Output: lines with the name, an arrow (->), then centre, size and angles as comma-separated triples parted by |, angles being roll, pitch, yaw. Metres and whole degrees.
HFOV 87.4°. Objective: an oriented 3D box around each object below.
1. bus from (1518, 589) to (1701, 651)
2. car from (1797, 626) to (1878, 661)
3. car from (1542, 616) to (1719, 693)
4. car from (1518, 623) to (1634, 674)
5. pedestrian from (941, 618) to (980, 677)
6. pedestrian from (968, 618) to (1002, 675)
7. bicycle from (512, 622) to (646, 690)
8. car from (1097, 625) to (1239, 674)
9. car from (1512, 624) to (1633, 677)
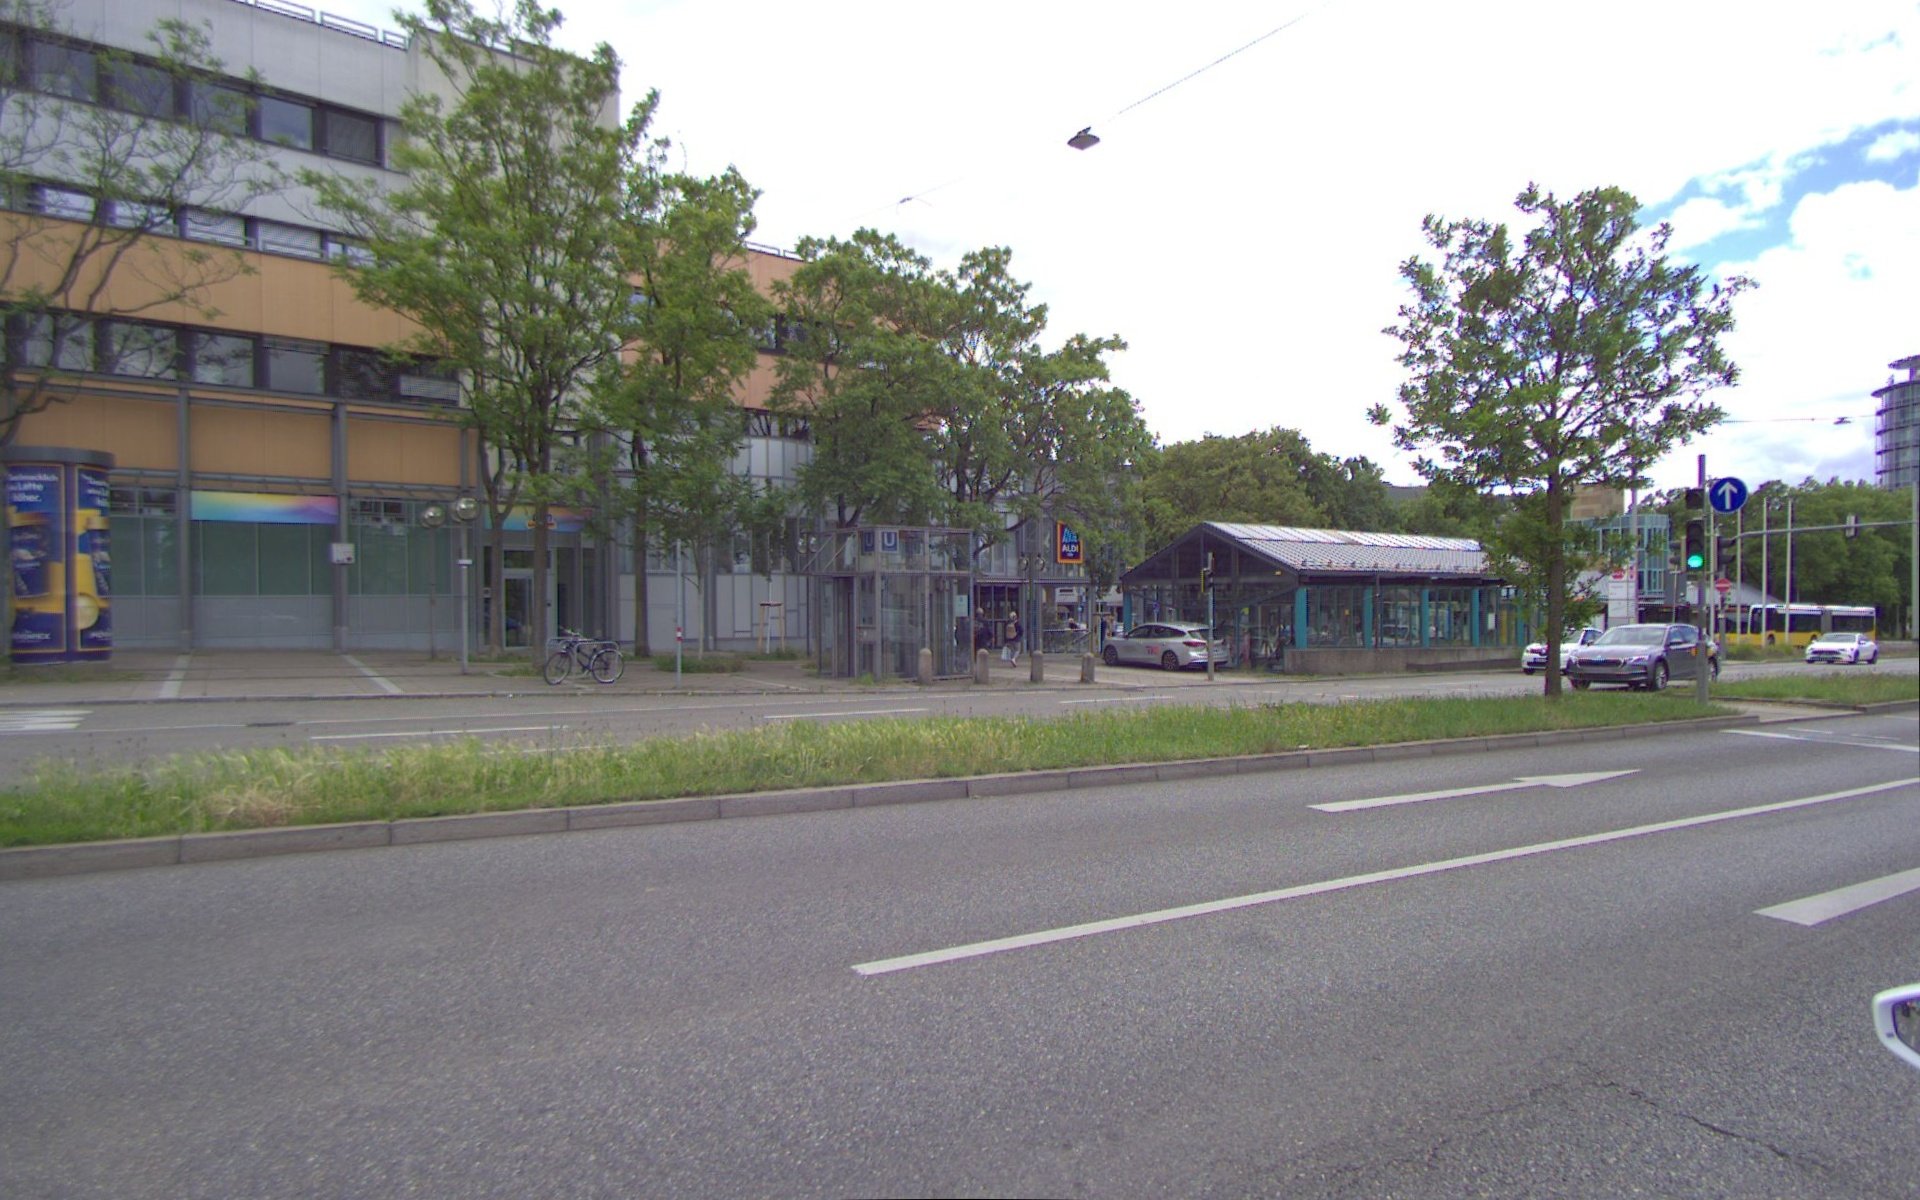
bus -> 36.833, 1.182, 56.781 | 12.001, 3.175, 2.947 | 2, 0, -26
car -> 41.547, 2.052, 47.549 | 4.458, 1.595, 1.723 | 2, -1, -33
car -> 15.386, 1.194, 22.985 | 4.473, 1.595, 1.980 | 2, -2, -36
car -> 20.344, 1.583, 33.161 | 3.953, 1.595, 1.616 | 1, -1, -30
pedestrian -> 0.027, 1.209, 25.668 | 0.593, 1.477, 0.868 | 1, -1, 32
pedestrian -> 0.677, 1.241, 27.073 | 0.592, 1.477, 0.869 | 2, 0, 25
bicycle -> -7.876, 1.130, 20.786 | 2.400, 1.288, 1.045 | 1, 1, -35
car -> 6.414, 1.480, 31.264 | 1.985, 1.372, 3.951 | 2, -1, -42
car -> 20.269, 1.644, 33.206 | 3.954, 1.538, 1.739 | 1, 2, -31
